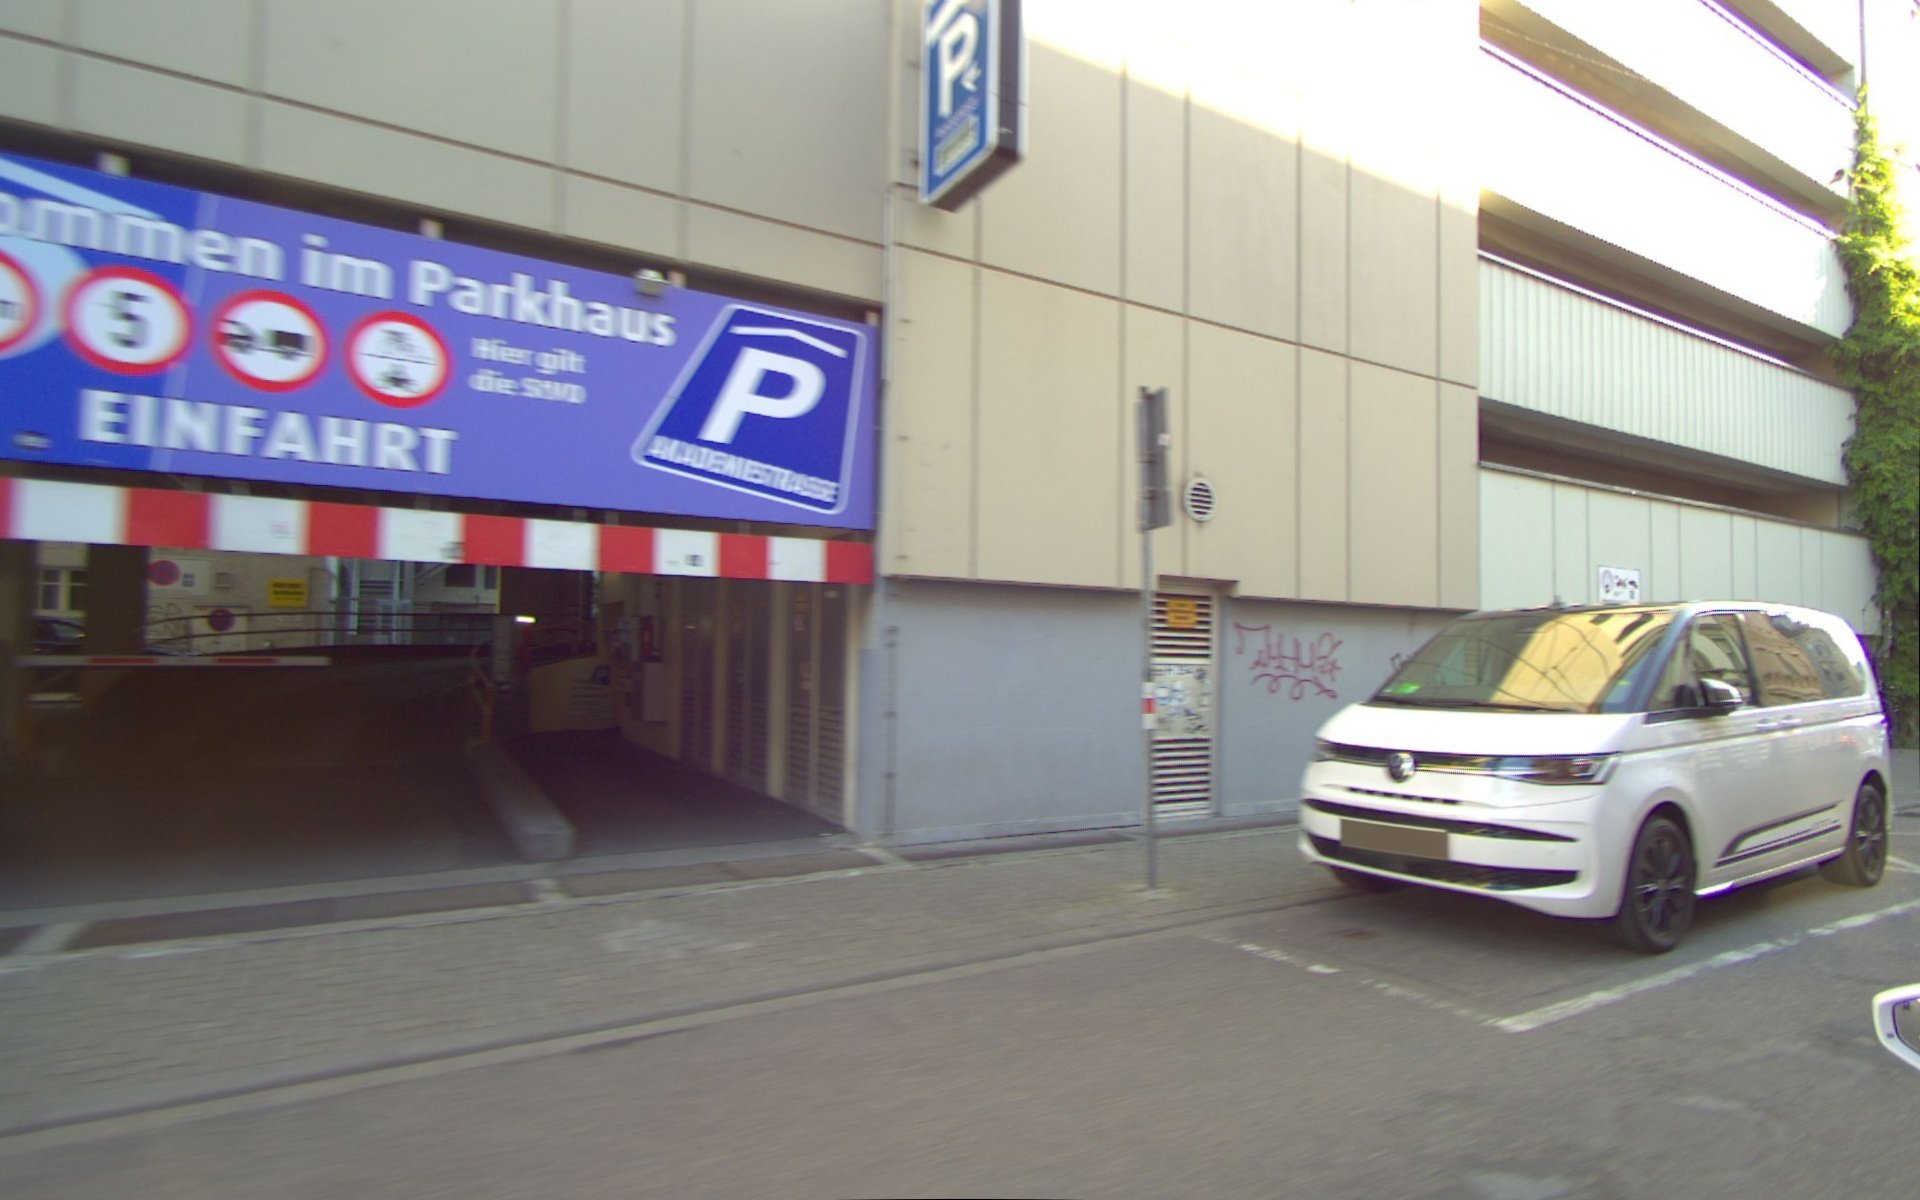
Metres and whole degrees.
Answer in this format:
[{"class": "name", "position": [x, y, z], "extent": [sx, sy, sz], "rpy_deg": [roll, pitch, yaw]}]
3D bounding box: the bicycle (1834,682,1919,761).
[{"class": "bicycle", "position": [14.755, 1.912, 16.051], "extent": [1.773, 1.175, 0.640], "rpy_deg": [3, -2, -30]}]

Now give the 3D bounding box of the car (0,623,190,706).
[{"class": "car", "position": [-17.852, 1.250, 19.656], "extent": [4.159, 1.488, 1.619], "rpy_deg": [3, -2, -31]}]

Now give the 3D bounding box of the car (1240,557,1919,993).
[{"class": "car", "position": [4.295, 0.952, 6.718], "extent": [4.798, 1.964, 1.983], "rpy_deg": [3, -5, -33]}]
